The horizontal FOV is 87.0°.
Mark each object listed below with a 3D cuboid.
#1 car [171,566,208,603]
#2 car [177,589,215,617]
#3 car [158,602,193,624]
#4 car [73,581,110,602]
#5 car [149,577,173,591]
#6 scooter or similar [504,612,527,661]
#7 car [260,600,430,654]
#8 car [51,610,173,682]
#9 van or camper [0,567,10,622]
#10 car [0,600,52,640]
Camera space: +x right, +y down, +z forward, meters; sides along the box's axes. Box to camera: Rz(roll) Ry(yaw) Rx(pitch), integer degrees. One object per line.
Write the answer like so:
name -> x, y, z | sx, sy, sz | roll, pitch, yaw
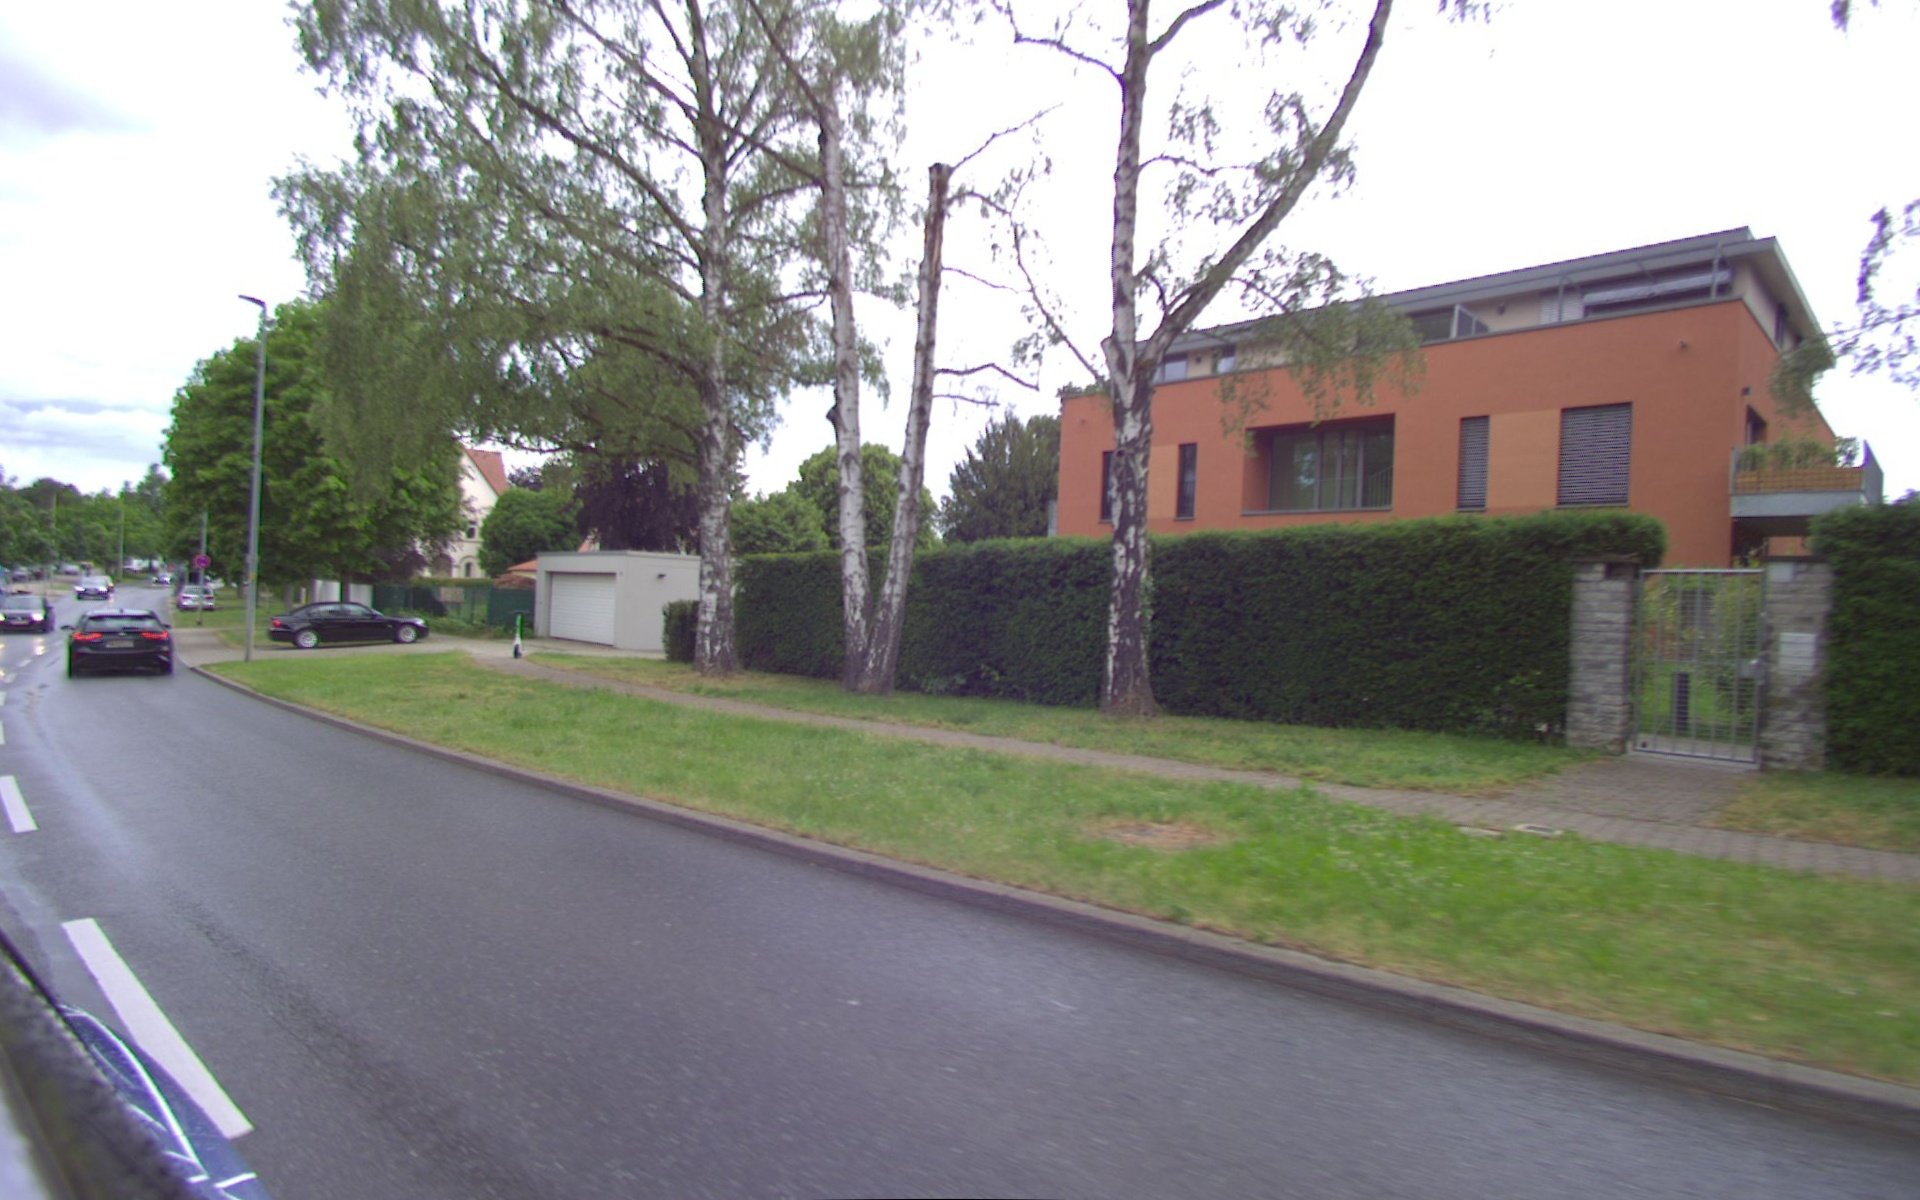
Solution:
car -> -61.553, -1.241, 80.950 | 2.212, 2.860, 5.057 | 0, 1, -36
car -> -47.335, 0.171, 62.769 | 1.747, 1.618, 4.010 | 2, 0, -36
car -> -51.253, 0.827, 66.168 | 1.679, 1.333, 3.852 | -1, 1, -36
car -> -65.483, -0.614, 76.382 | 1.866, 1.552, 4.009 | 0, 0, -37
car -> -86.775, -1.718, 109.978 | 1.865, 1.552, 4.010 | 0, 0, -35
scooter or similar -> -10.976, 0.888, 25.008 | 0.418, 1.167, 1.494 | -1, 0, -19
car -> -19.465, 0.795, 32.130 | 4.372, 1.428, 1.759 | -3, 2, -39
car -> -19.110, 0.970, 22.754 | 4.159, 1.452, 1.735 | -1, 0, 45
van or camper -> -46.230, -0.316, 47.226 | 2.116, 2.628, 5.794 | 4, -1, -38
car -> -38.293, 0.779, 41.132 | 1.818, 1.552, 4.008 | 0, 0, -38
